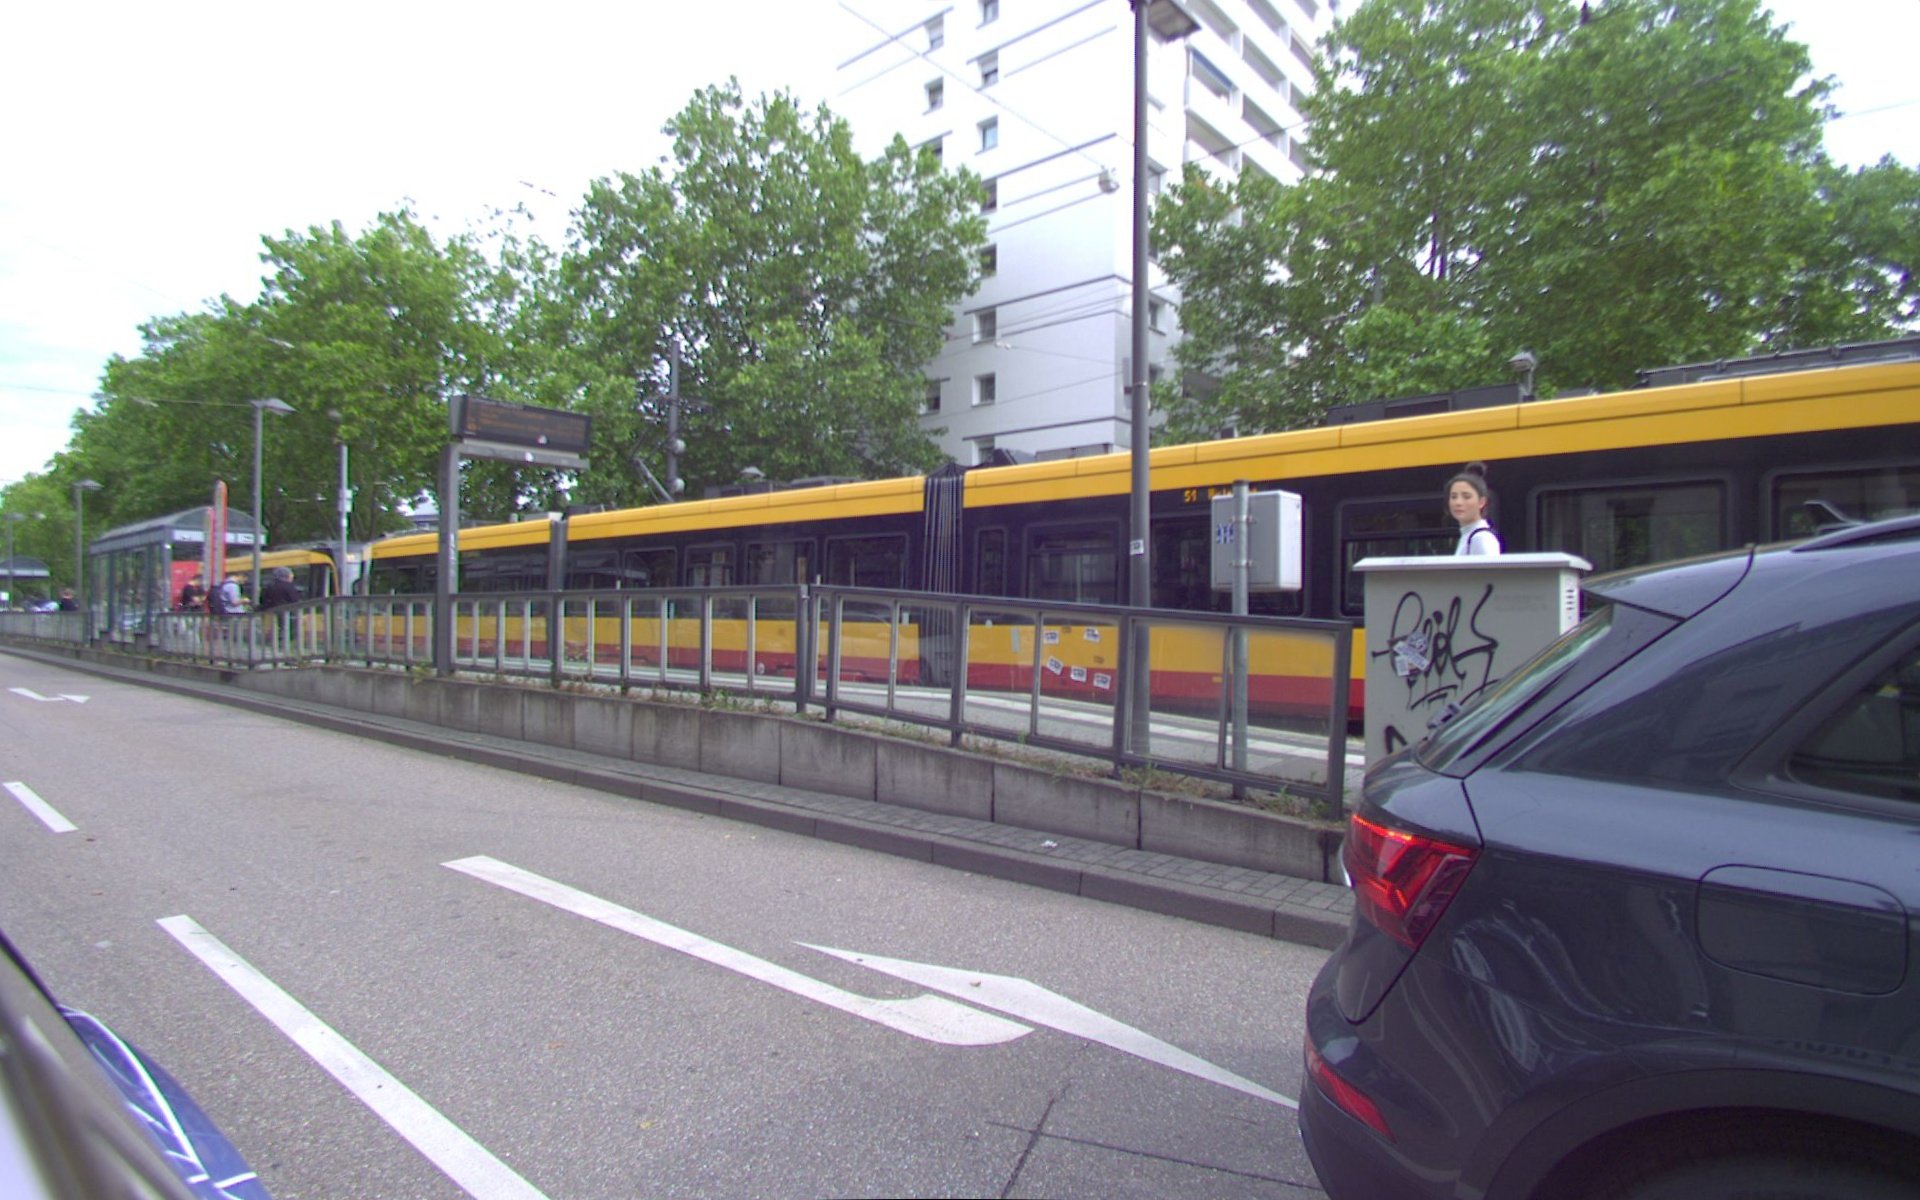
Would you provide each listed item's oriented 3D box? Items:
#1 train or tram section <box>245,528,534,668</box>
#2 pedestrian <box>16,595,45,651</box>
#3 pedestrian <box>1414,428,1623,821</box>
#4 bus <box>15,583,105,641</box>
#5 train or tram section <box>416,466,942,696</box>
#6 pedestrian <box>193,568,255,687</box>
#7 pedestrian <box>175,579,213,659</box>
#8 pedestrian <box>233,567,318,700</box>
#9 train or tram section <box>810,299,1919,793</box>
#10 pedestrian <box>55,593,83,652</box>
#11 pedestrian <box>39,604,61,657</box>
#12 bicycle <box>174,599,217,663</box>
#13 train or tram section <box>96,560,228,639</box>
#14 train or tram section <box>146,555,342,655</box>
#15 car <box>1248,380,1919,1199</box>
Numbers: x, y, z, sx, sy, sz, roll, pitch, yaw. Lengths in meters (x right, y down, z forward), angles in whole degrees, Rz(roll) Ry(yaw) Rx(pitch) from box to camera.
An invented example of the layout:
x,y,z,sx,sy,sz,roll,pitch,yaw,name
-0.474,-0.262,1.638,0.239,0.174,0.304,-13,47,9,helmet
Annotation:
x,y,z,sx,sy,sz,roll,pitch,yaw,name
-18.555,-0.019,31.925,15.287,3.558,3.028,0,0,41,train or tram section
-34.167,0.820,37.197,0.587,2.029,0.668,-1,0,38,pedestrian
2.676,0.104,4.838,0.730,1.674,0.746,-1,0,41,pedestrian
-33.151,0.426,37.241,3.998,2.029,1.973,0,0,41,bus
-7.064,-0.267,21.815,15.287,3.558,3.028,0,0,41,train or tram section
-12.925,0.463,17.791,0.742,2.029,0.821,-1,0,-26,pedestrian
-15.989,0.381,21.118,0.471,1.645,0.526,-1,0,39,pedestrian
-10.730,0.517,15.882,0.808,2.029,0.754,-1,0,4,pedestrian
4.650,-0.383,11.528,15.841,3.615,3.028,0,0,41,train or tram section
-25.414,0.628,28.857,0.730,1.645,0.506,-1,0,42,pedestrian
-28.925,0.959,32.177,0.392,1.645,0.474,-1,0,42,pedestrian
-15.260,0.604,20.187,1.289,1.231,0.414,-1,0,41,bicycle
-40.827,-0.015,51.533,12.534,3.588,3.060,0,0,41,train or tram section
-30.217,0.201,42.159,15.764,3.558,3.028,0,0,41,train or tram section
2.744,0.540,1.028,4.354,1.613,1.861,-1,0,40,car
